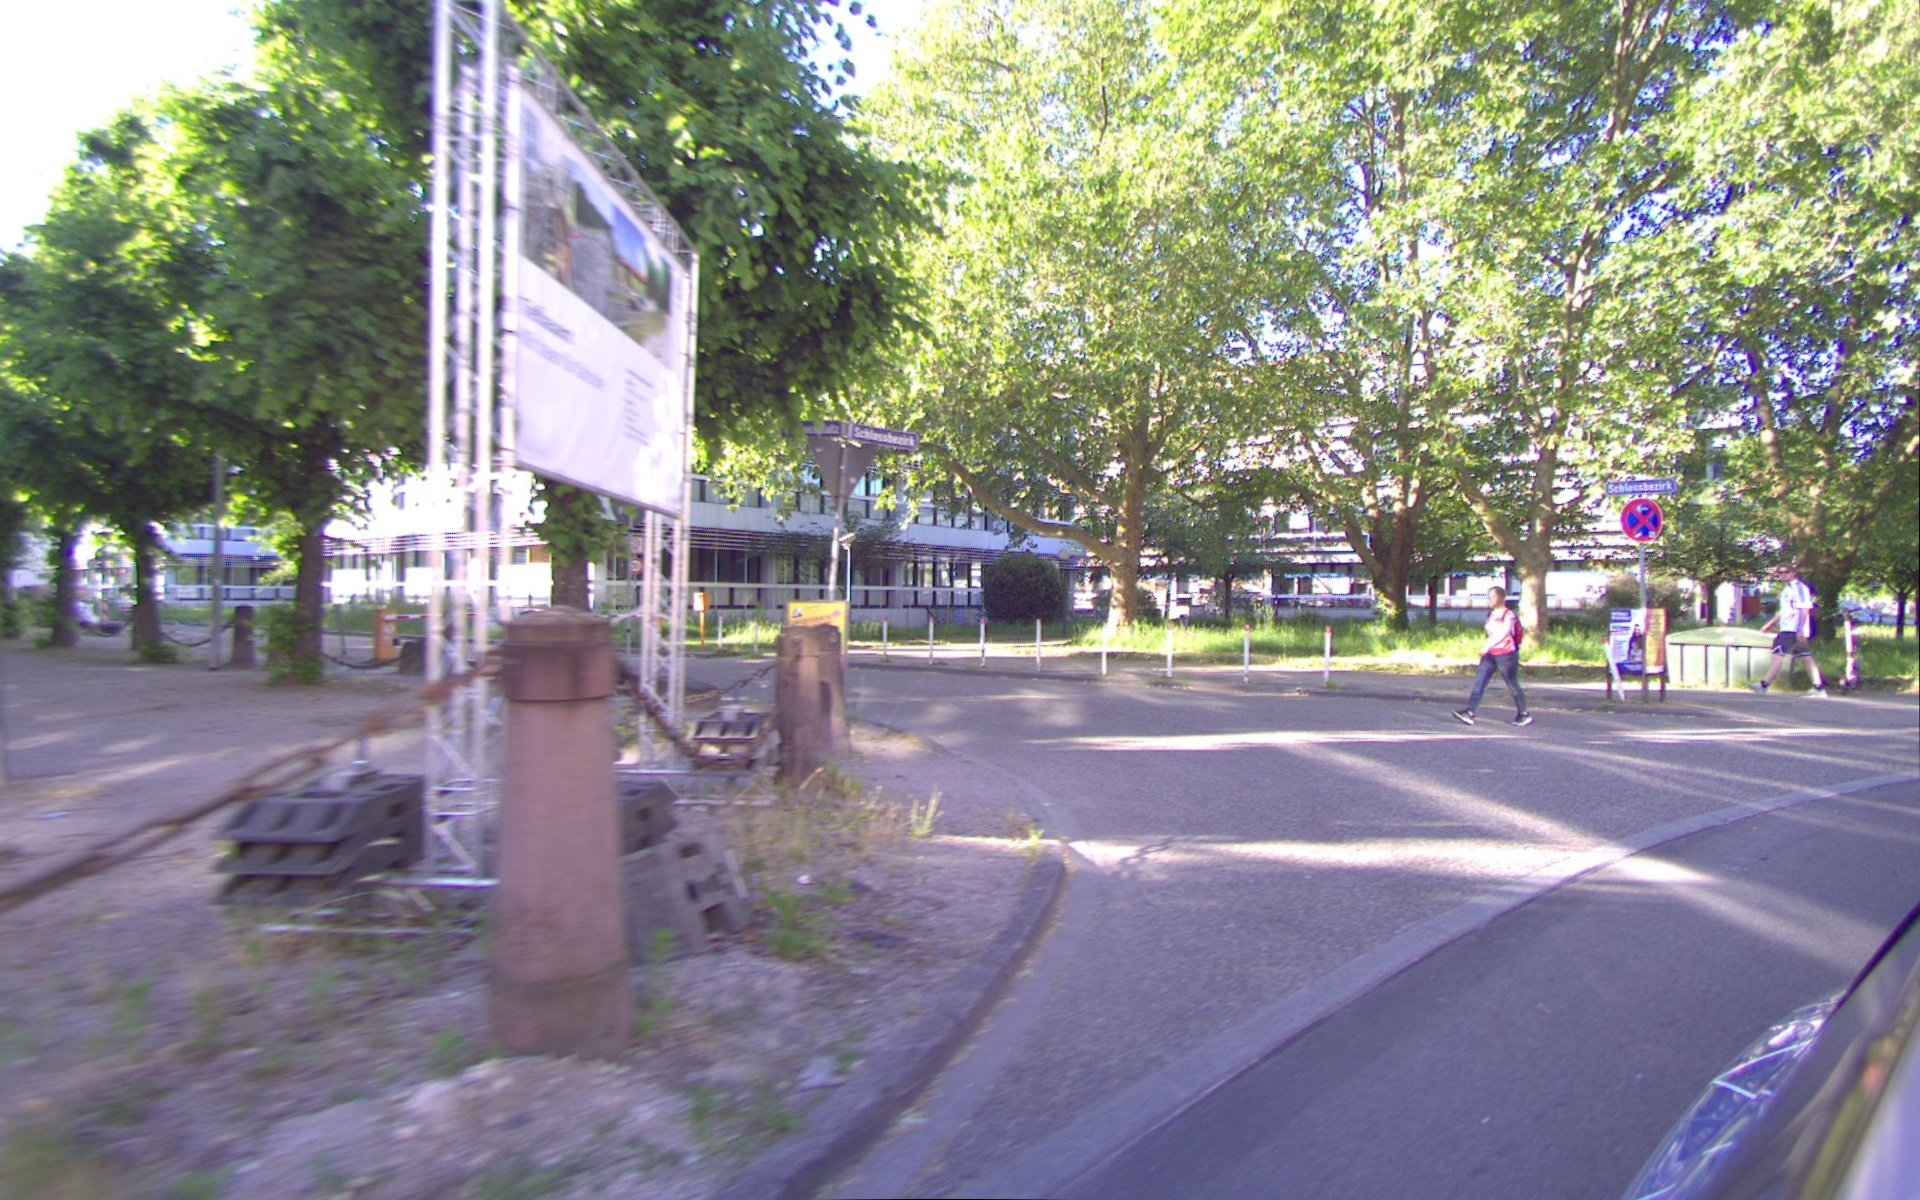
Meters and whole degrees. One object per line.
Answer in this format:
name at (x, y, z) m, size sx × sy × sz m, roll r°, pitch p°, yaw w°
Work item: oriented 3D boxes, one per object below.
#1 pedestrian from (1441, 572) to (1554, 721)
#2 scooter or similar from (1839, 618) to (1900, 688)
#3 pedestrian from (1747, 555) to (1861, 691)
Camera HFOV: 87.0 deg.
pedestrian at (6.150, 0.516, 11.622) m, size 0.923 × 1.644 × 0.709 m, roll 0°, pitch -1°, yaw 6°
scooter or similar at (13.190, 0.748, 14.698) m, size 0.416 × 0.925 × 1.139 m, roll -1°, pitch 1°, yaw 30°
pedestrian at (11.866, 0.306, 14.273) m, size 1.124 × 1.836 × 0.739 m, roll 0°, pitch -2°, yaw 31°
